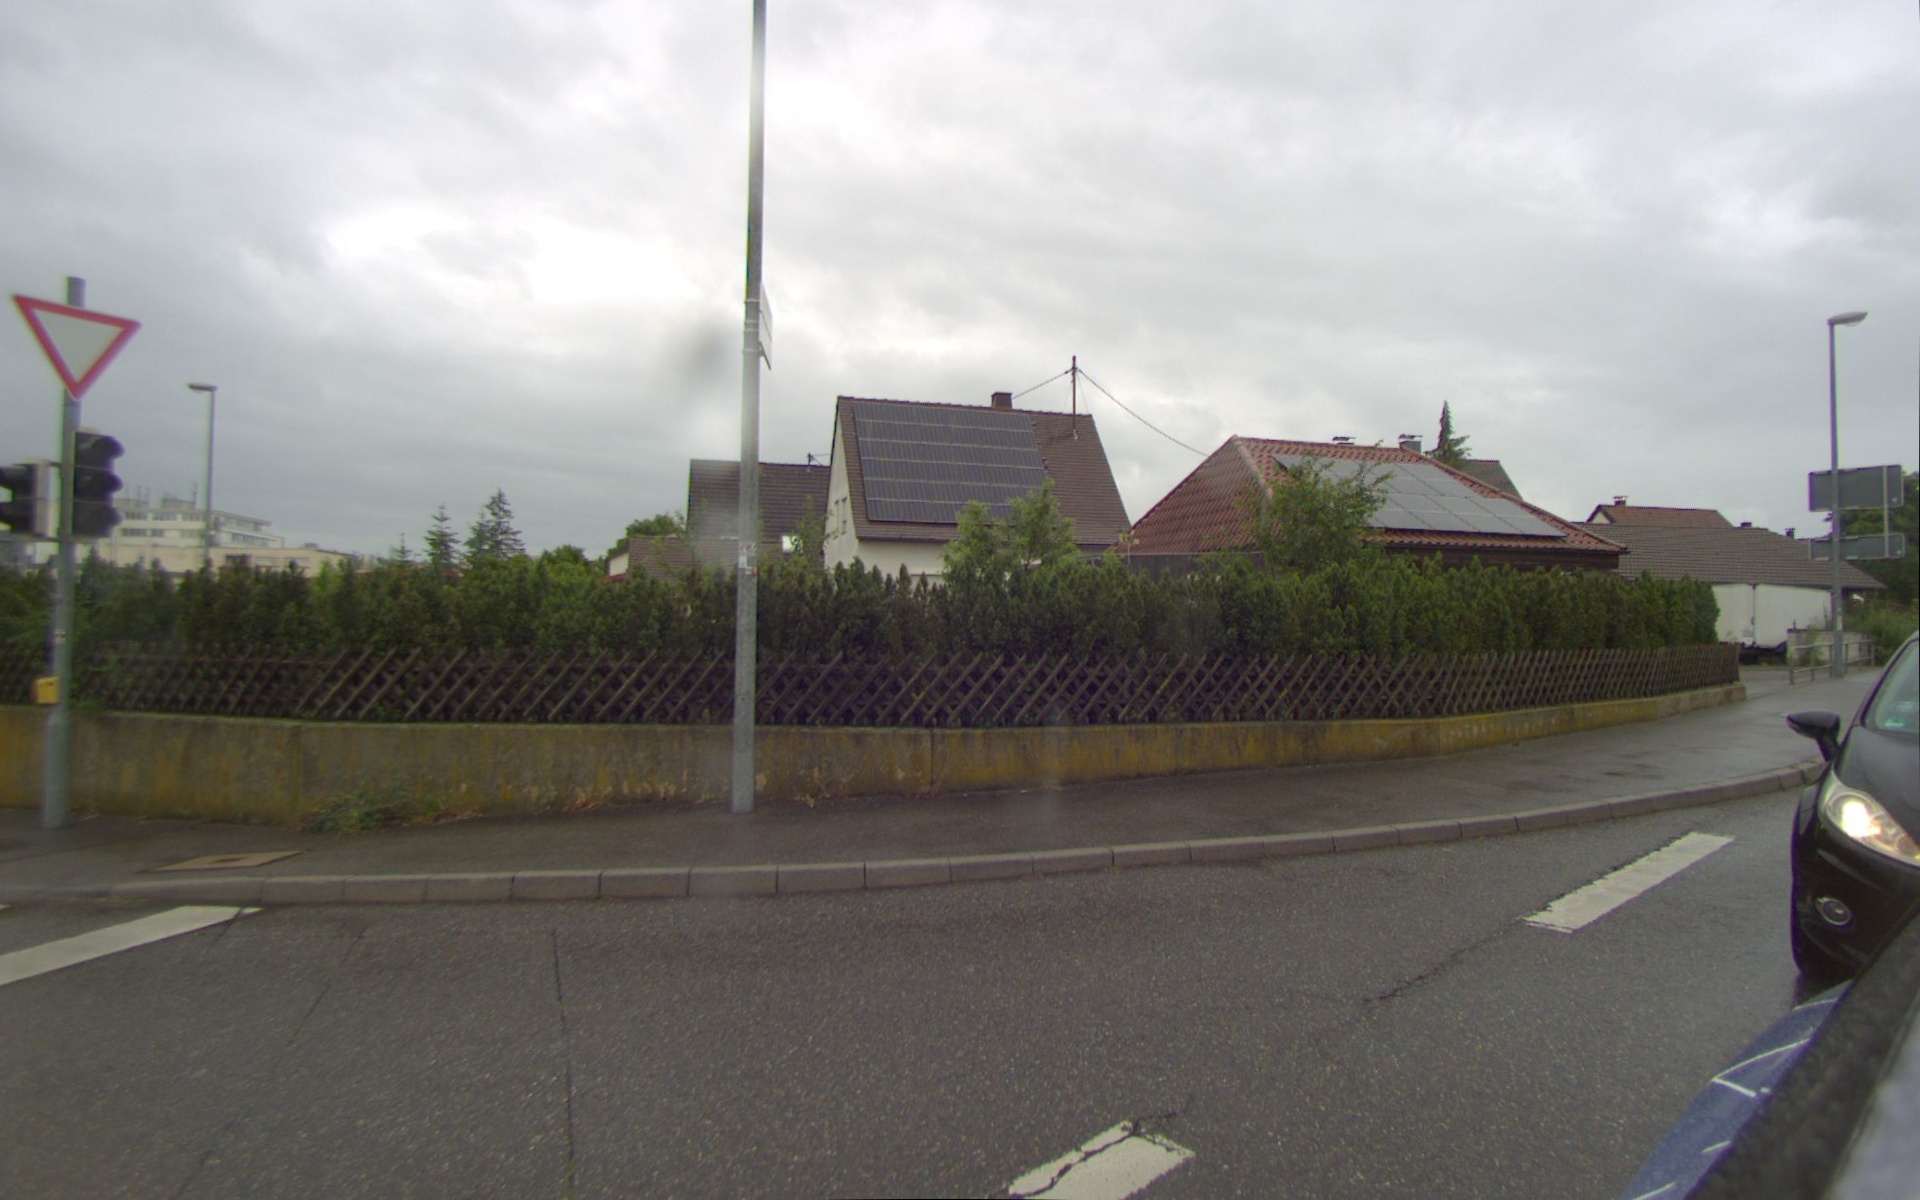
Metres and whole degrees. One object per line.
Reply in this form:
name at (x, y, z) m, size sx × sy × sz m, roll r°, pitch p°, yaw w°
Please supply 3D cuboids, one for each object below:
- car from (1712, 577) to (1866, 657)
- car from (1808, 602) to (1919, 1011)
car at (25.564, 0.499, 31.227) m, size 3.916 × 2.380 × 1.657 m, roll 0°, pitch -1°, yaw -14°
car at (5.247, 0.757, 4.619) m, size 3.867 × 1.436 × 1.663 m, roll -1°, pitch 0°, yaw -43°
